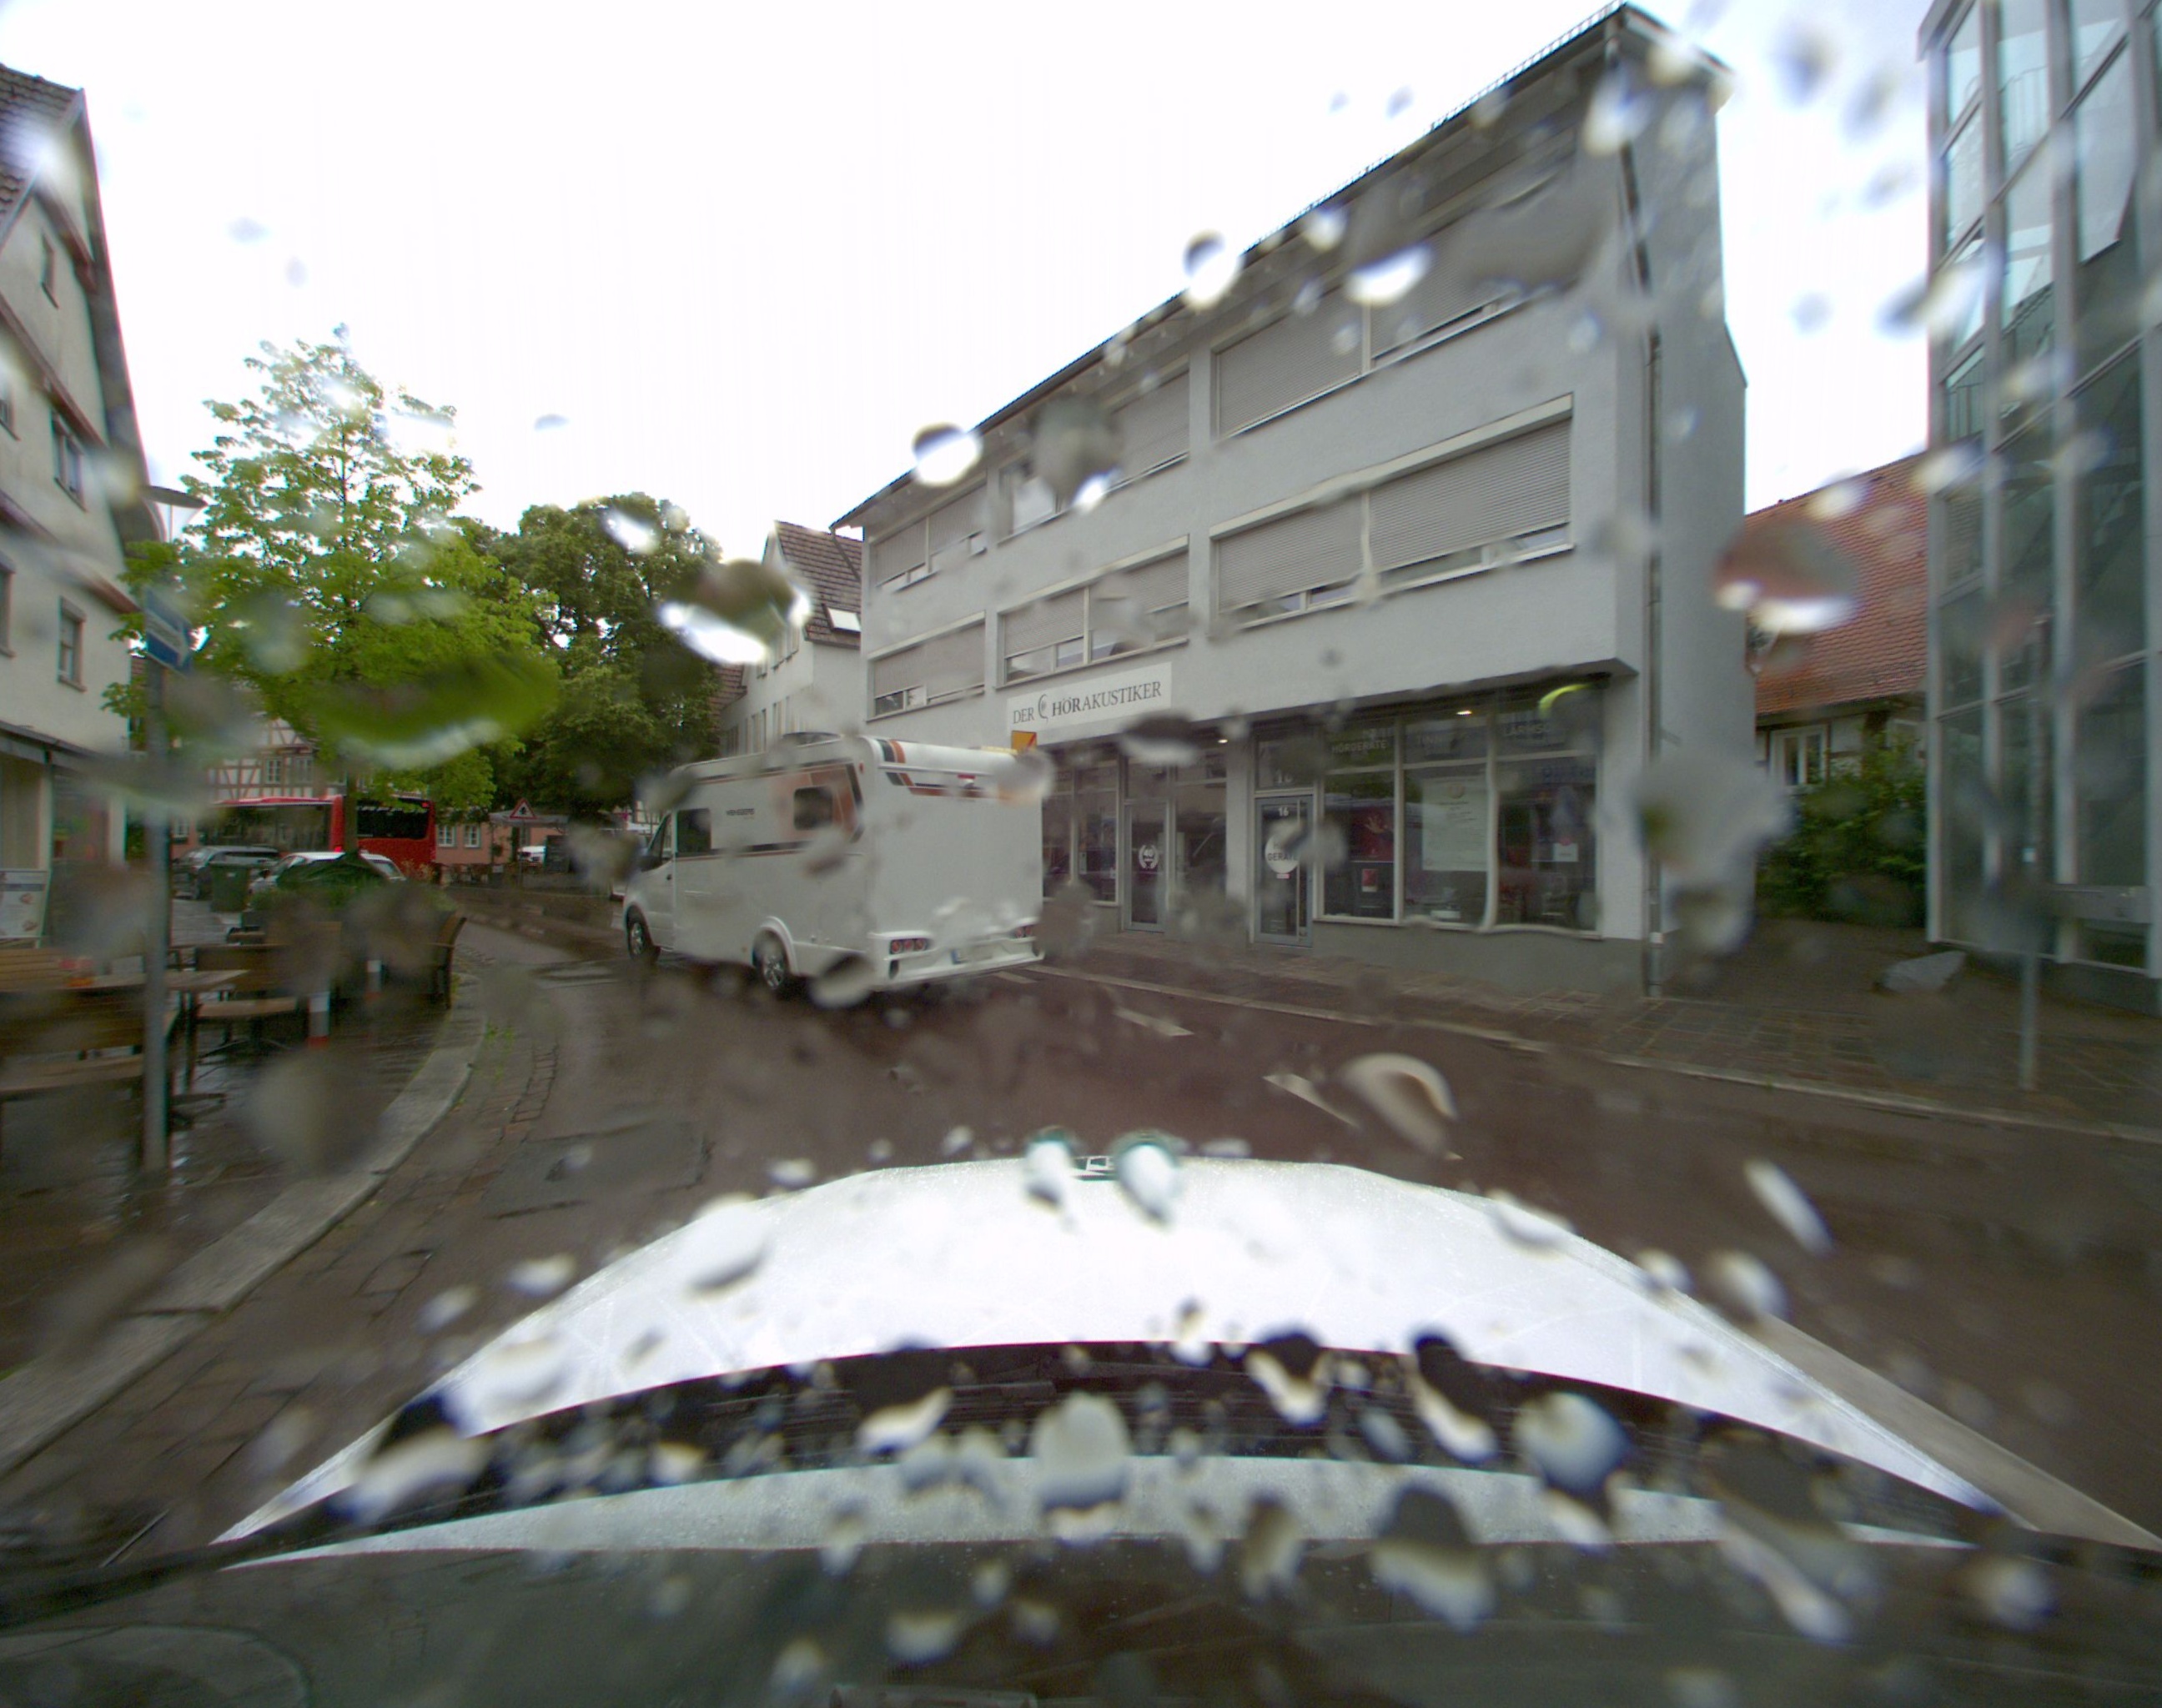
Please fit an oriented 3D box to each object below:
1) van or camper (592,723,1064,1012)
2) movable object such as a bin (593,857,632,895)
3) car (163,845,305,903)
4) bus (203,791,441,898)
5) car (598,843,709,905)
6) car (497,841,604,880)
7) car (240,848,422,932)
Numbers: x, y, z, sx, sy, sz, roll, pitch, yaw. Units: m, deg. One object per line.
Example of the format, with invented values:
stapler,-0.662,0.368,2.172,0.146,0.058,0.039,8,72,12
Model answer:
van or camper,-3.555,0.100,10.355,6.664,2.585,2.461,0,0,40
movable object such as a bin,-13.905,0.647,24.164,0.554,1.112,0.841,-1,-1,40
car,-23.149,0.510,22.235,3.930,1.414,1.737,1,0,30
bus,-25.780,-0.347,27.439,10.472,3.088,2.840,0,2,30
car,-11.693,0.465,22.165,1.692,1.528,3.753,-1,2,-44
car,-21.424,0.283,32.975,3.551,1.478,1.565,1,-1,-34
car,-14.713,0.644,15.926,3.929,1.414,1.738,1,-2,35
